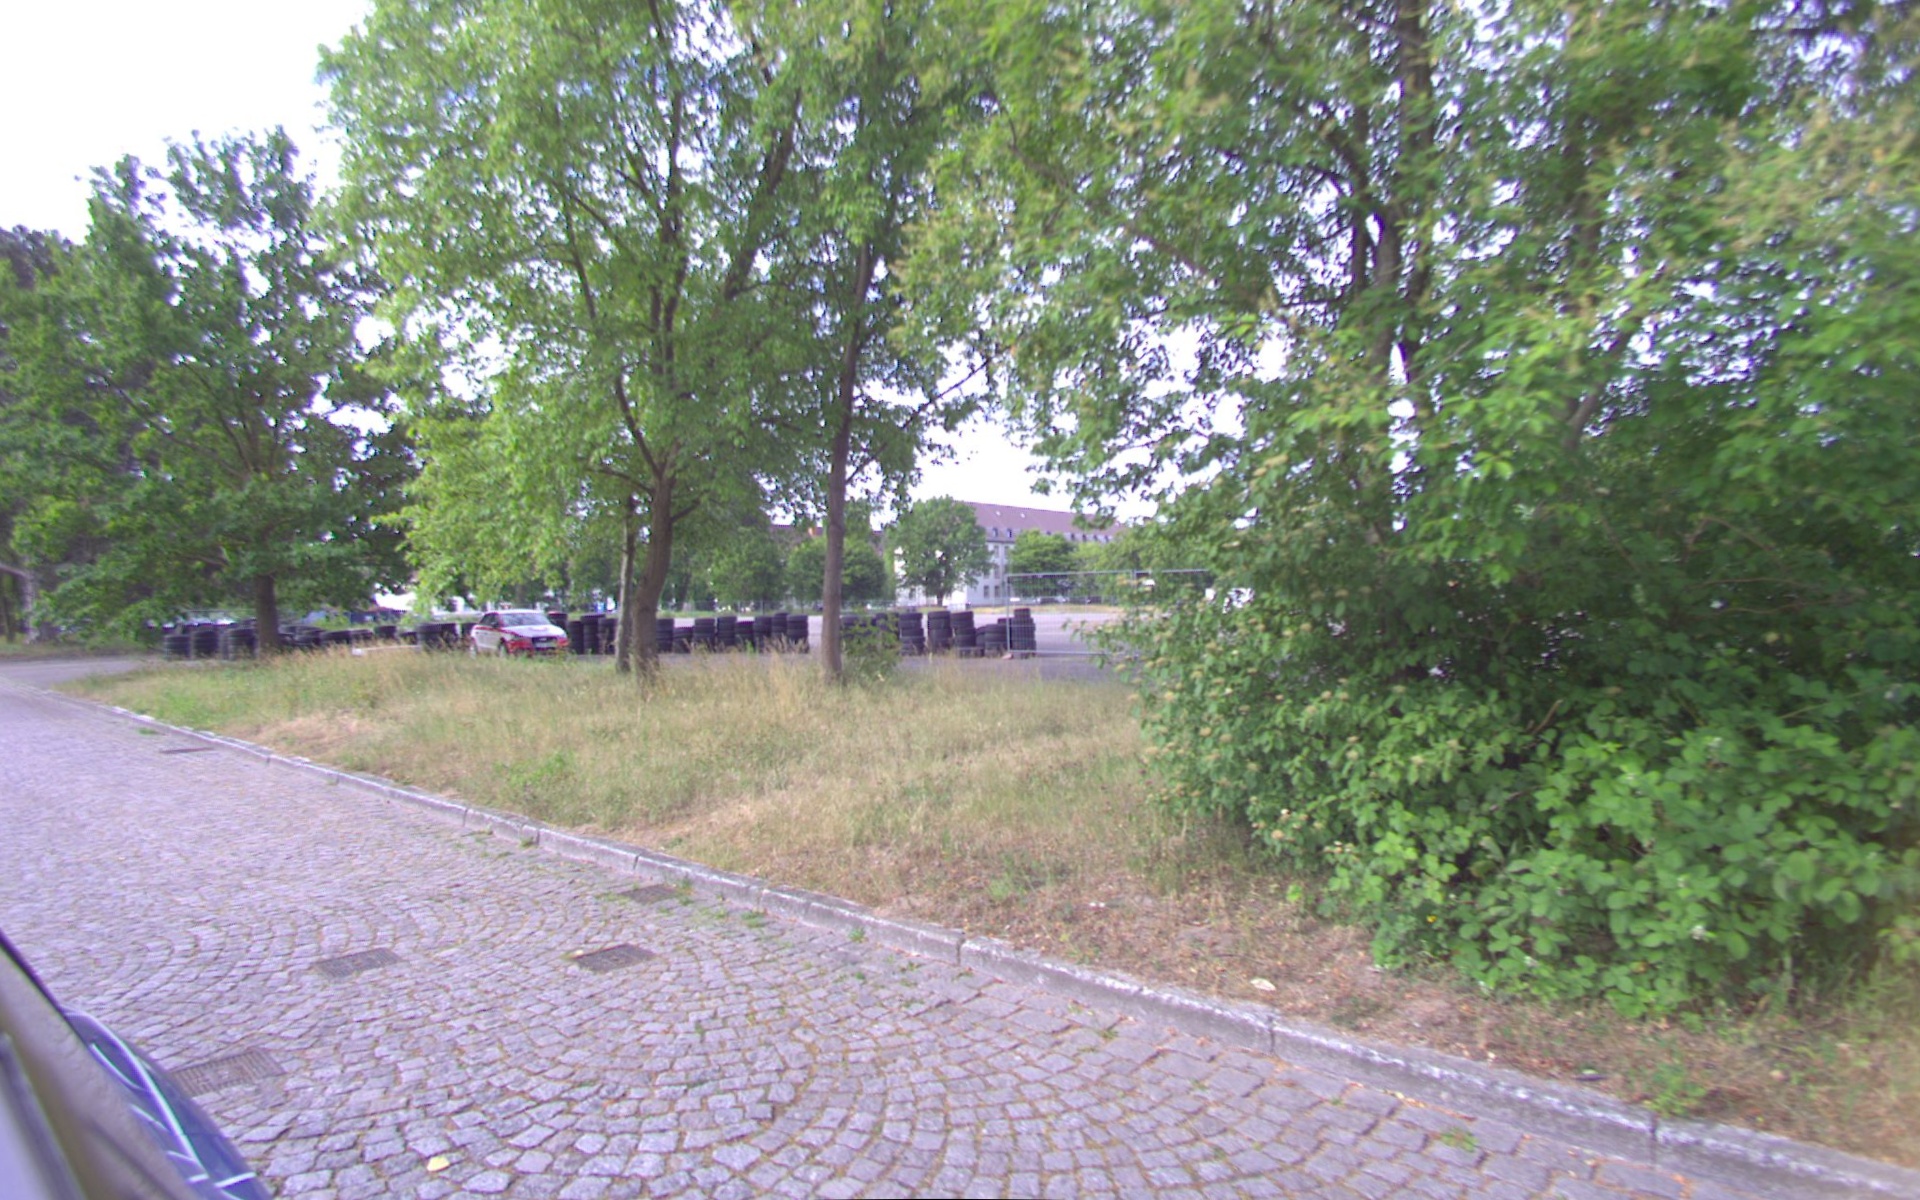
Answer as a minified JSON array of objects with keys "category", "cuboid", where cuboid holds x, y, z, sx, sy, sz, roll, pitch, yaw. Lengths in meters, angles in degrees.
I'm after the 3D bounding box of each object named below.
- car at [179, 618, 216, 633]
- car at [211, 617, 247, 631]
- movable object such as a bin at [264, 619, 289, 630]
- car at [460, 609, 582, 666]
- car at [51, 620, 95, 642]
[{"category":"car","cuboid":[-79.622,2.629,105.646,4.446,1.460,1.975,-1,0,38]},{"category":"car","cuboid":[-78.176,2.588,108.161,4.446,1.460,1.975,-1,0,38]},{"category":"movable object such as a bin","cuboid":[-67.883,2.468,100.508,2.712,1.079,1.046,-1,0,33]},{"category":"car","cuboid":[-12.346,1.020,28.345,1.802,1.442,4.222,-1,-1,-43]},{"category":"car","cuboid":[-60.624,2.134,69.161,3.719,1.421,1.649,-1,0,39]}]
